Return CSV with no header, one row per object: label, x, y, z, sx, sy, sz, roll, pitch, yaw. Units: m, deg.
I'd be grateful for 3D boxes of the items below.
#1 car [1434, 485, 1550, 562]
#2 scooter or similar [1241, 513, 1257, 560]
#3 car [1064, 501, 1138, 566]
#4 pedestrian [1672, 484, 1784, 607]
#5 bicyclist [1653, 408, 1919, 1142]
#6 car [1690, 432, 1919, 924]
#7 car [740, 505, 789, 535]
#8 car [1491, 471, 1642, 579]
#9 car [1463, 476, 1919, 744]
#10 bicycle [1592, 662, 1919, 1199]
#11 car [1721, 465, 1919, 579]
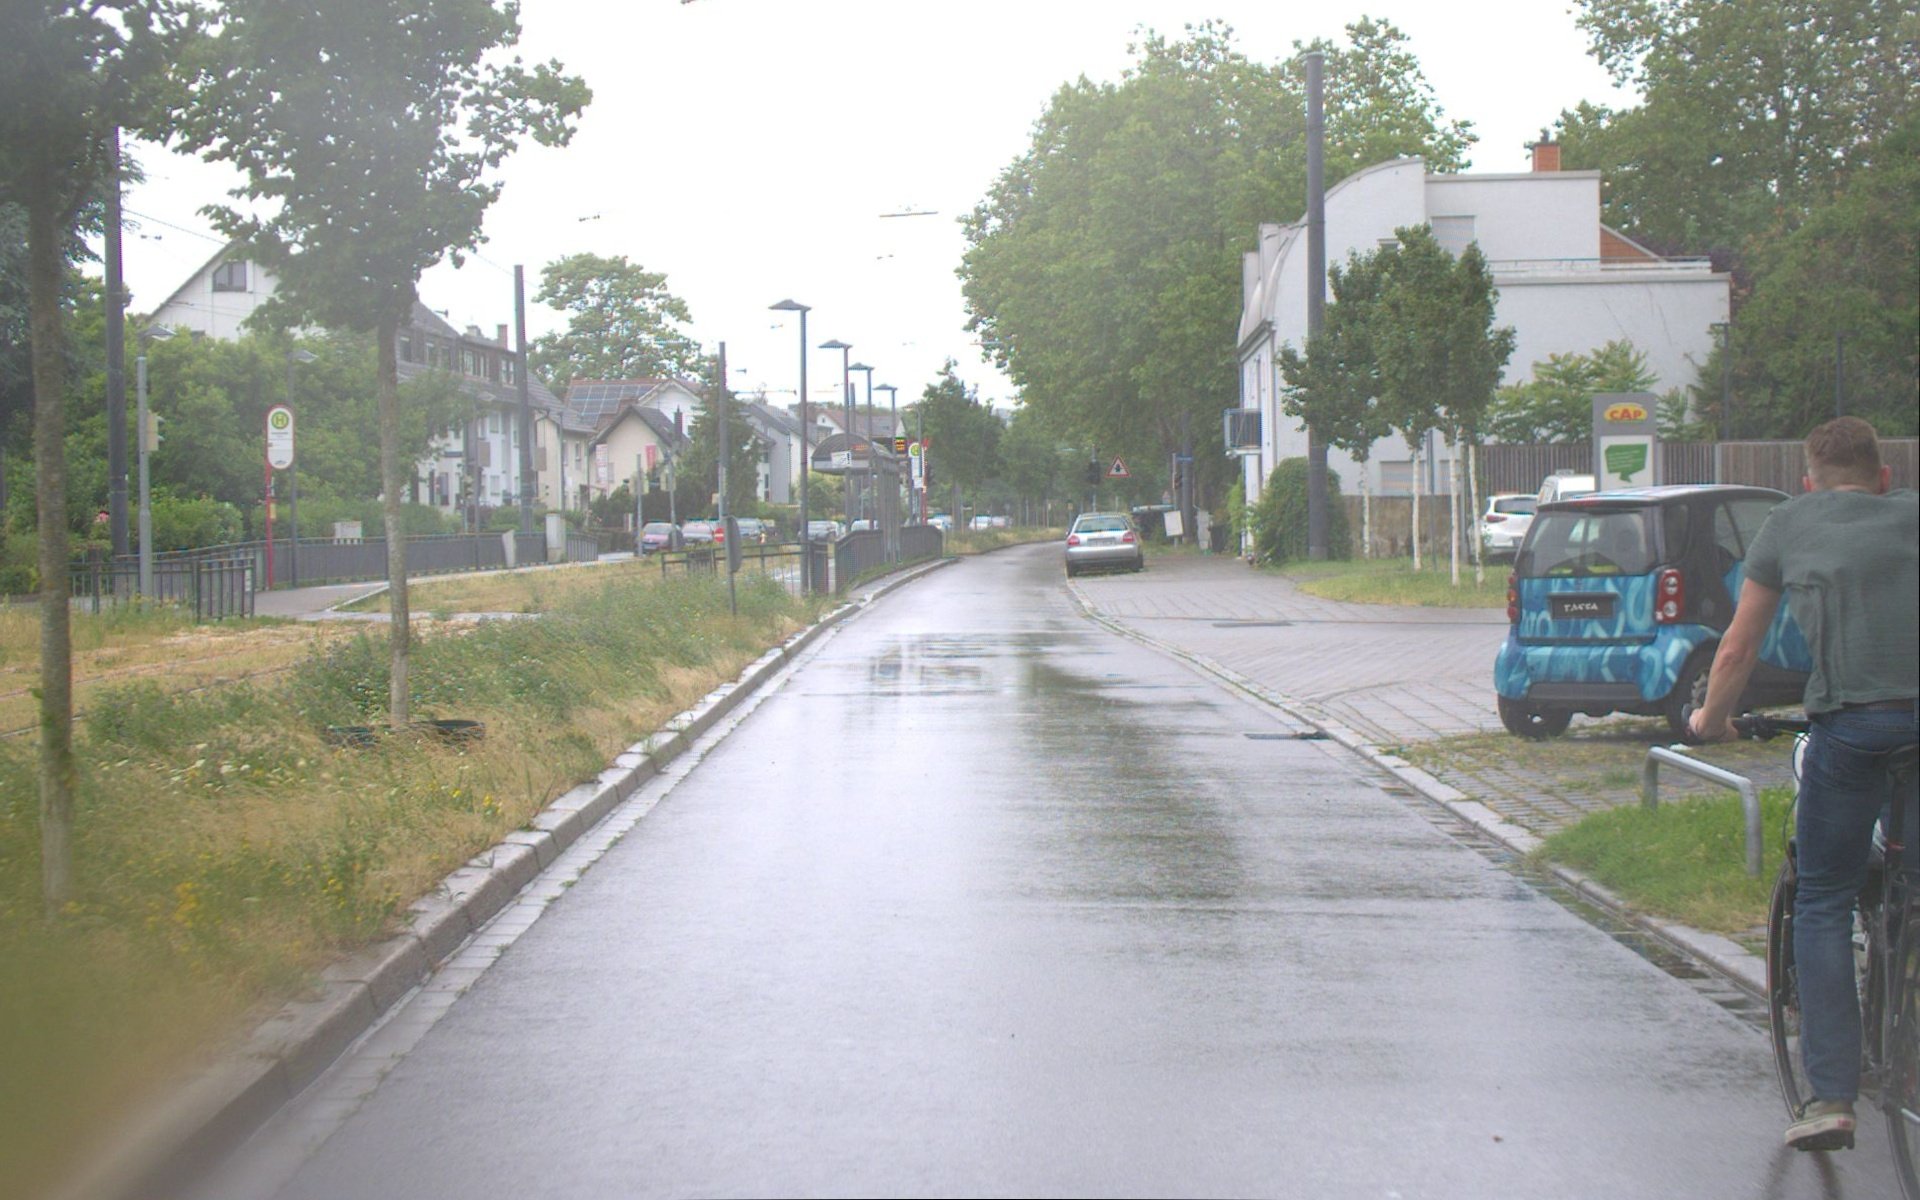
car,11.031,-1.620,71.532,1.963,1.529,4.363,0,2,3
scooter or similar,6.777,-1.487,80.622,0.333,1.081,1.395,0,1,7
car,3.368,-1.565,82.287,1.650,1.400,4.649,-4,0,2
pedestrian,9.529,-0.675,42.697,0.835,1.512,1.095,0,1,-29
bicyclist,1.933,0.367,7.688,0.534,1.554,0.773,0,1,-6
car,4.651,0.108,12.216,4.174,1.542,1.764,-6,4,-40
car,-9.963,-4.072,175.254,1.929,1.481,3.999,0,1,5
car,10.375,-1.321,59.134,1.963,1.778,4.897,0,2,3
car,4.611,0.029,21.418,2.558,1.542,1.602,-2,1,-40
bicycle,1.945,0.712,7.666,0.536,1.089,1.949,0,1,-5
car,12.222,-1.016,45.739,1.993,1.436,4.001,0,1,-27
